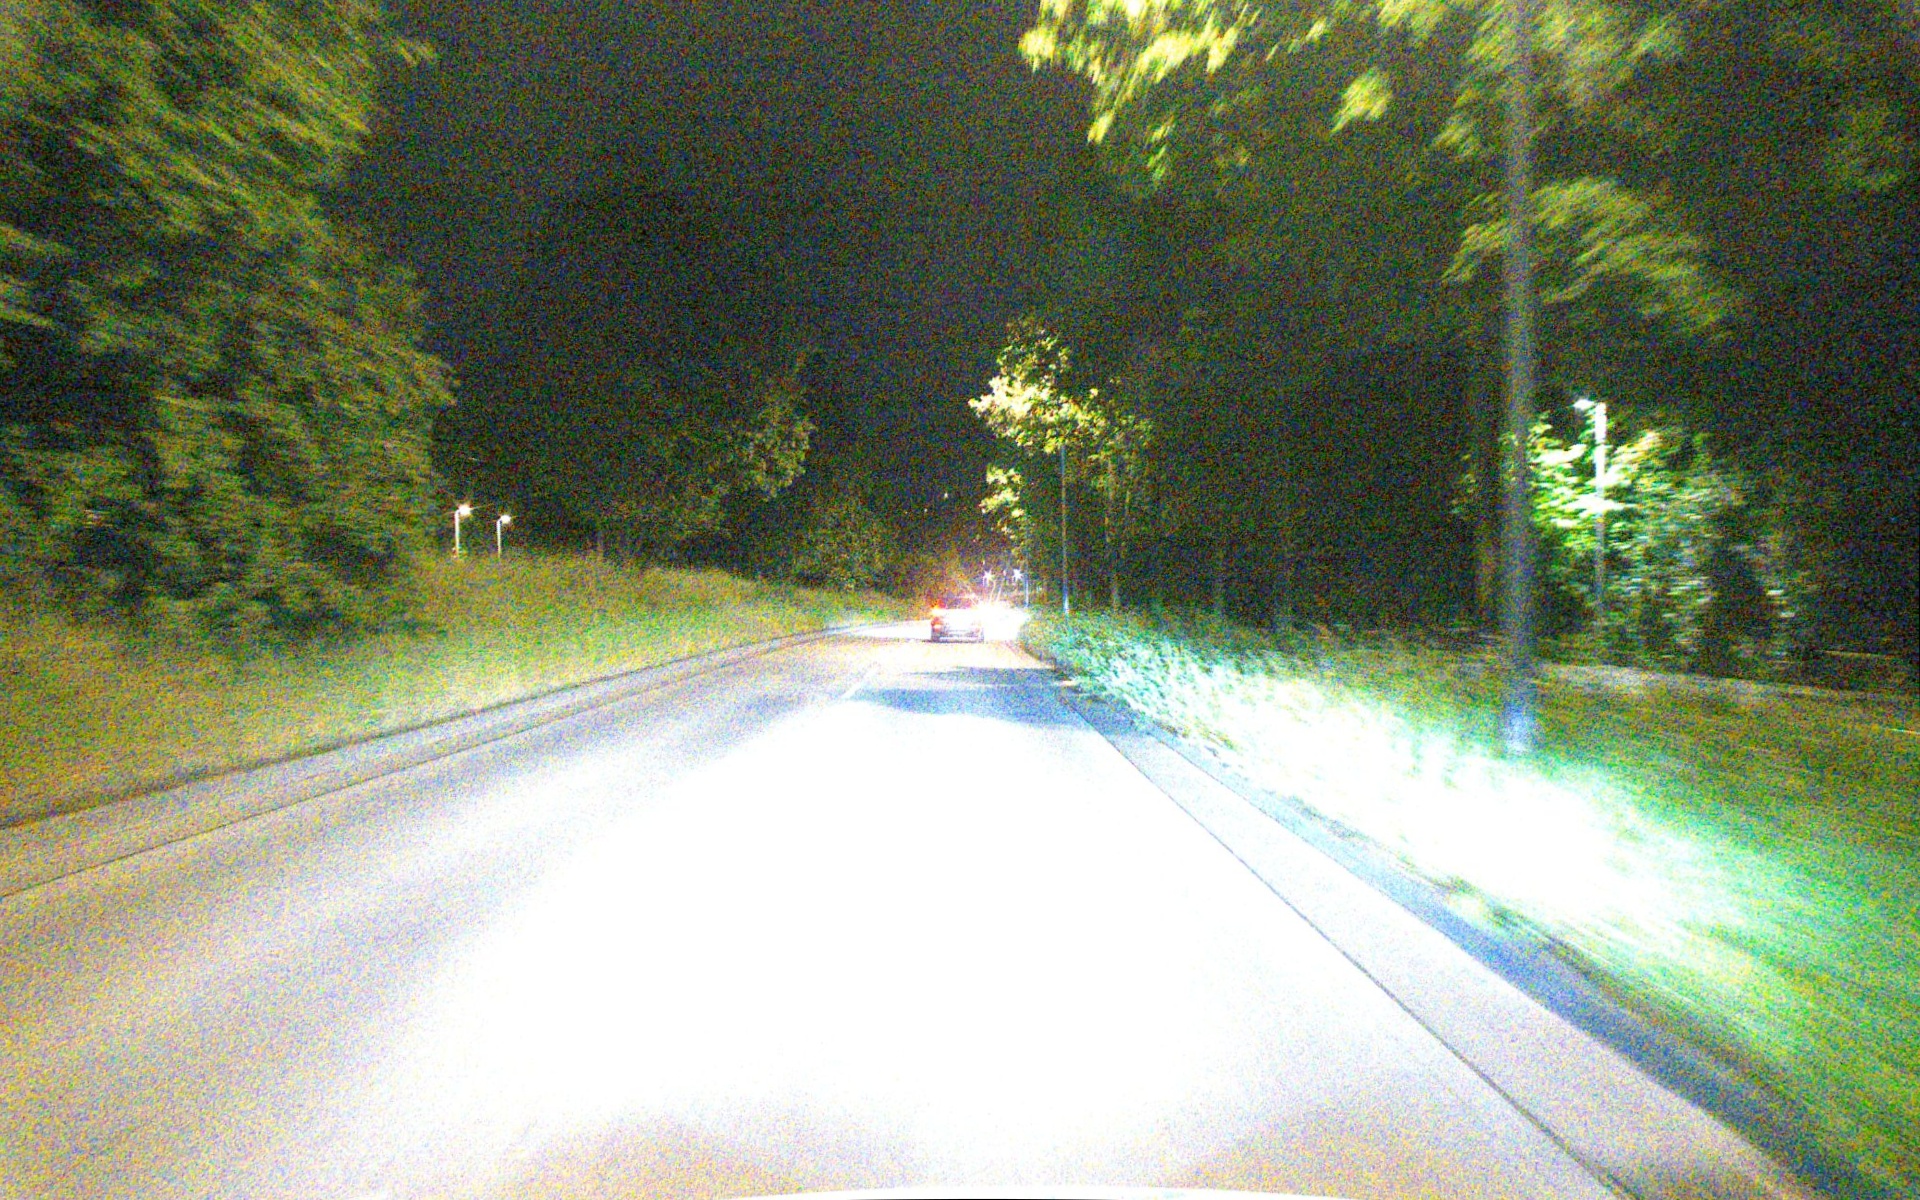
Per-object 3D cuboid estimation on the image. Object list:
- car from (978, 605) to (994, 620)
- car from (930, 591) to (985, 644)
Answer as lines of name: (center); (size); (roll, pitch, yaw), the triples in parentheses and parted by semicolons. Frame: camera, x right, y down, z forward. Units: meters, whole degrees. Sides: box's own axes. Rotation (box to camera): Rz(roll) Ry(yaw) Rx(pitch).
car: (2.785, 1.343, 174.973); (1.653, 1.483, 4.000); (1, -1, 1)
car: (-0.107, 0.572, 55.173); (1.727, 1.670, 3.722); (1, 0, -1)
